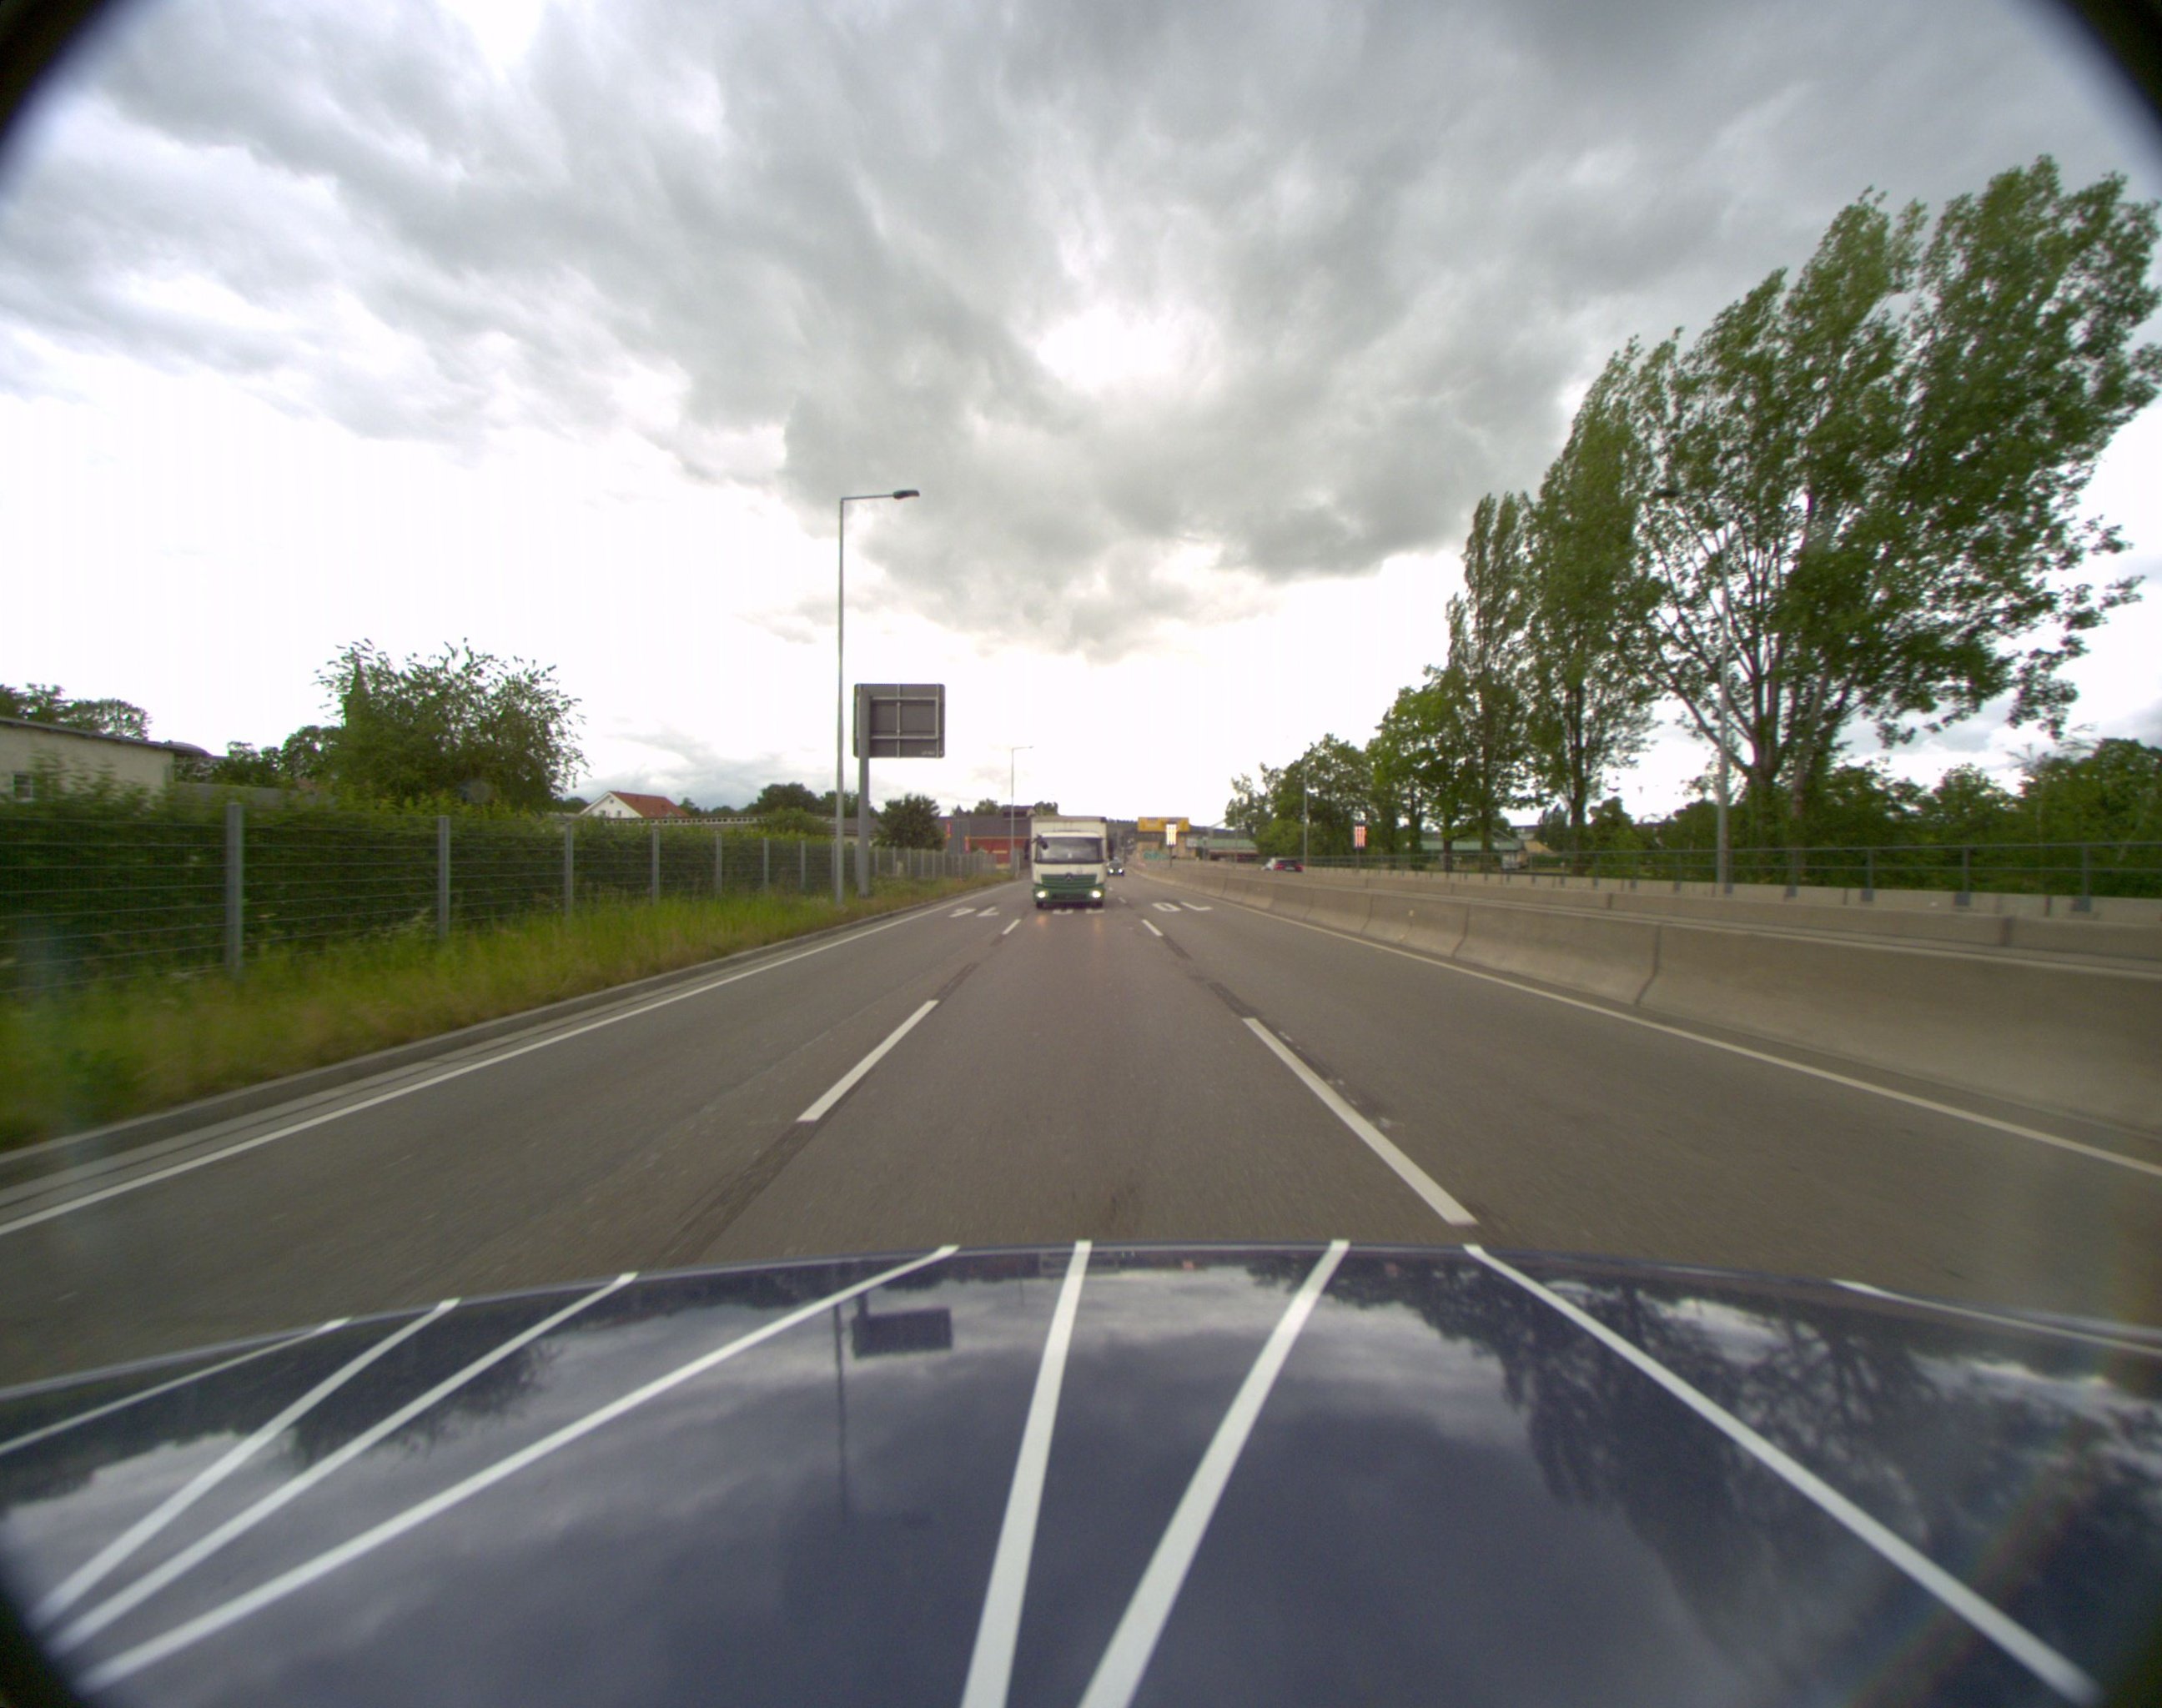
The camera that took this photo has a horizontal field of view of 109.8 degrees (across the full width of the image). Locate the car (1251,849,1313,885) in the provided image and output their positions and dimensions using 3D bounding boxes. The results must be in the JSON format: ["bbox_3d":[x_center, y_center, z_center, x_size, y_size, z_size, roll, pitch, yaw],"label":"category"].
[{"bbox_3d":[11.830,0.739,45.147,2.335,1.914,5.002,-2,0,1],"label":"car"}]

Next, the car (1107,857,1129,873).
[{"bbox_3d":[3.683,1.040,75.664,1.998,1.444,4.000,-2,0,1],"label":"car"}]

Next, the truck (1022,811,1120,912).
[{"bbox_3d":[-0.353,0.208,27.954,2.943,3.065,8.385,-2,0,-1],"label":"truck"}]
